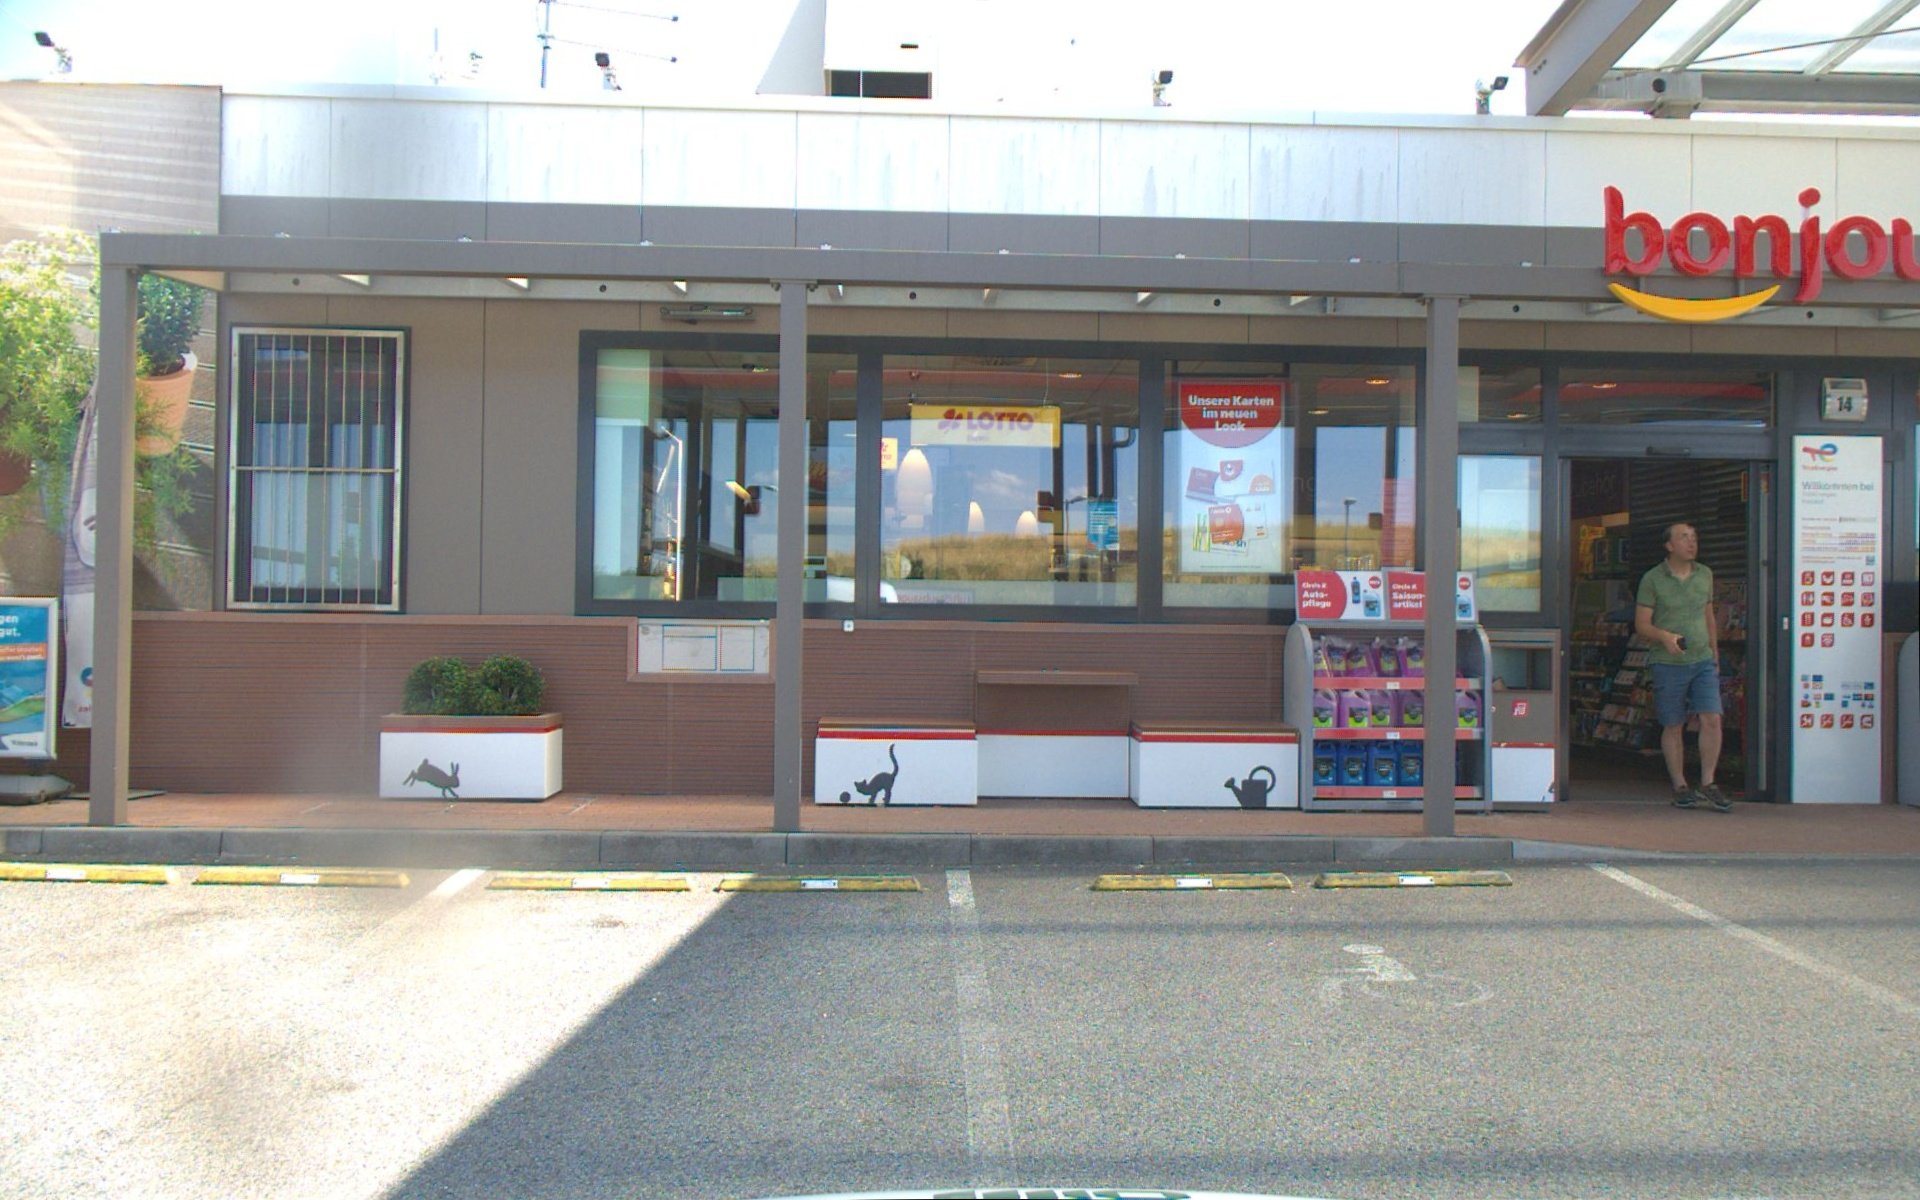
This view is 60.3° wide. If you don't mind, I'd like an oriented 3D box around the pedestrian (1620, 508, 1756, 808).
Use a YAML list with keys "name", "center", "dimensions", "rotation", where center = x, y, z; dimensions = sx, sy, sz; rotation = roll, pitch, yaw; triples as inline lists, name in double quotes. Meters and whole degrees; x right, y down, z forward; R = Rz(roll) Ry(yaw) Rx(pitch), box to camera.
- name: "pedestrian"
  center: [4.648, 0.351, 10.614]
  dimensions: [0.686, 1.829, 0.863]
  rotation: [0, 0, 16]
